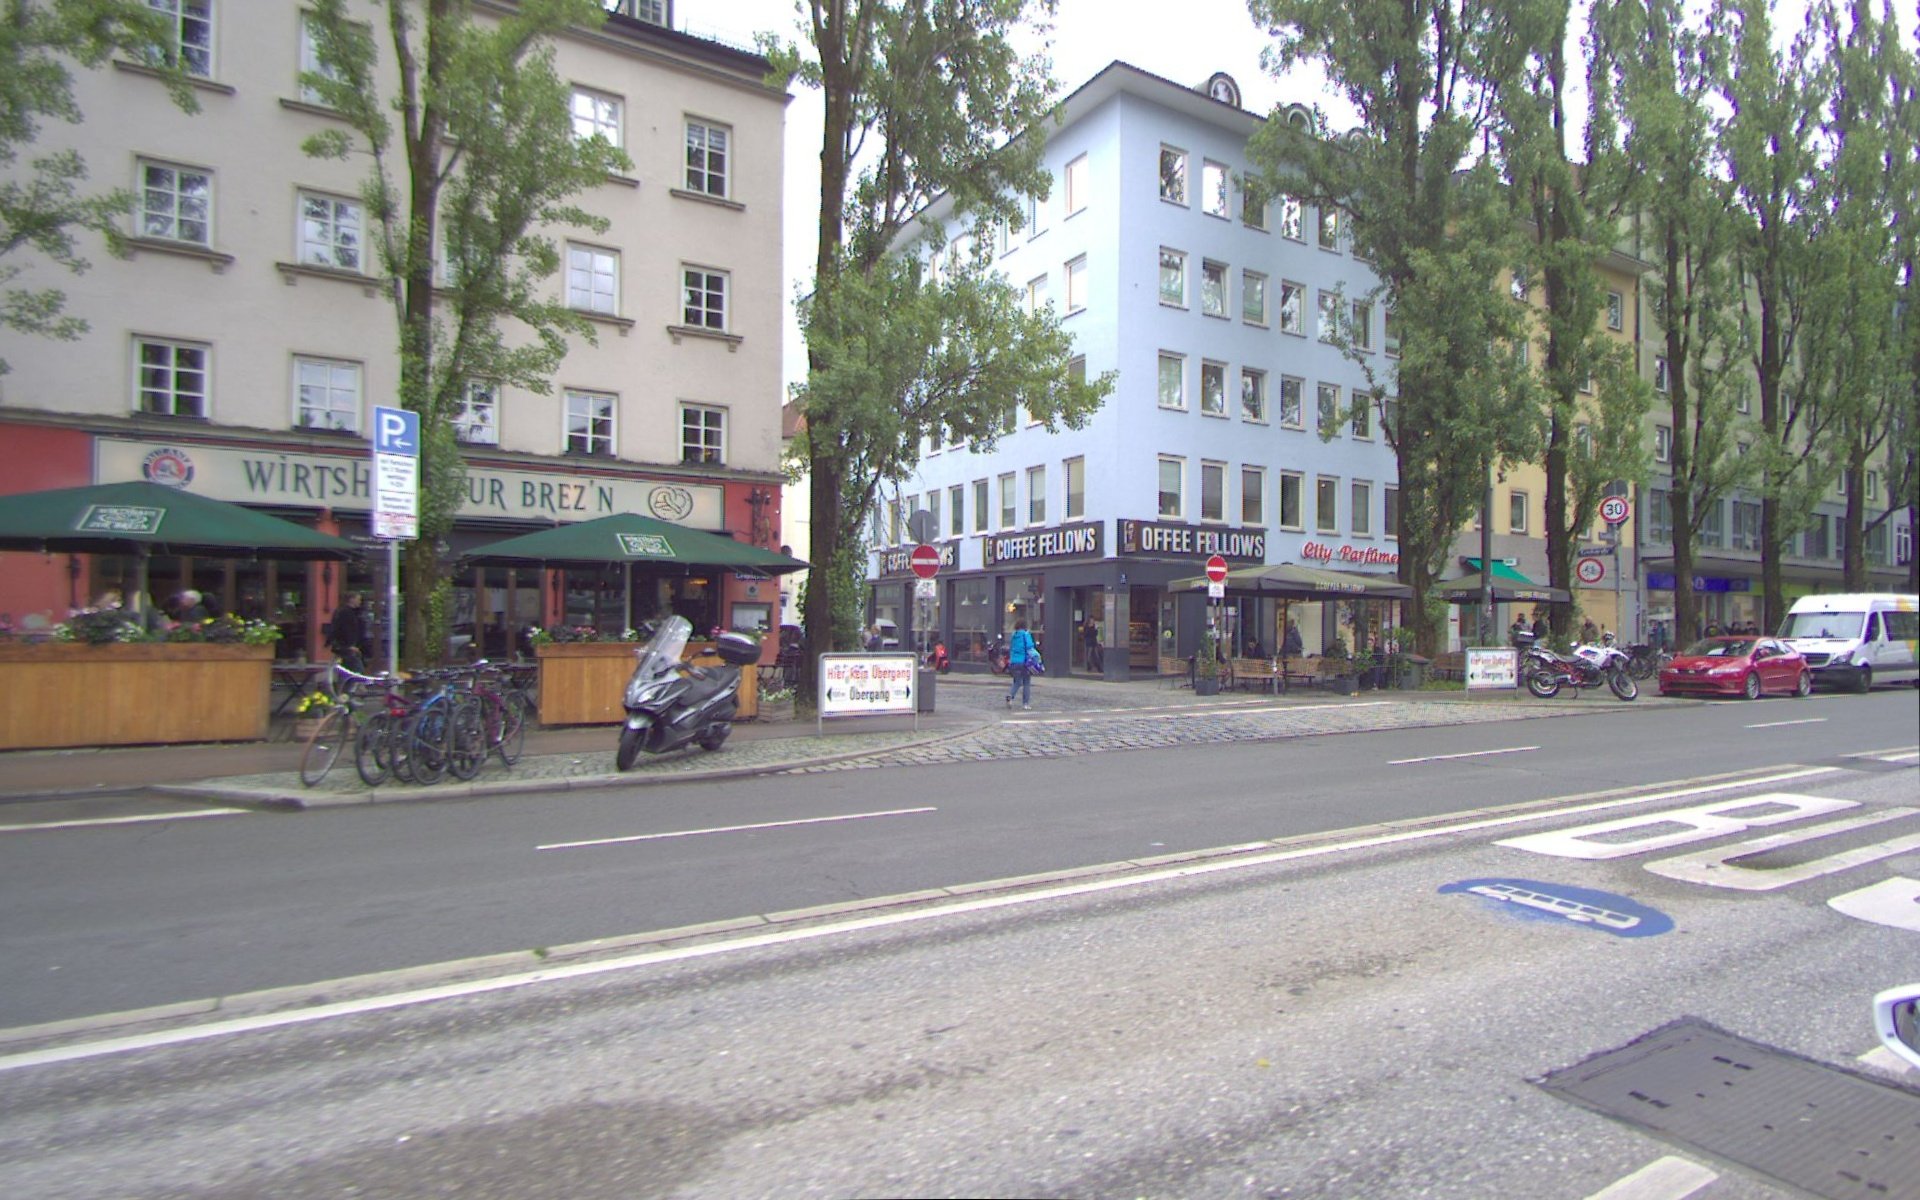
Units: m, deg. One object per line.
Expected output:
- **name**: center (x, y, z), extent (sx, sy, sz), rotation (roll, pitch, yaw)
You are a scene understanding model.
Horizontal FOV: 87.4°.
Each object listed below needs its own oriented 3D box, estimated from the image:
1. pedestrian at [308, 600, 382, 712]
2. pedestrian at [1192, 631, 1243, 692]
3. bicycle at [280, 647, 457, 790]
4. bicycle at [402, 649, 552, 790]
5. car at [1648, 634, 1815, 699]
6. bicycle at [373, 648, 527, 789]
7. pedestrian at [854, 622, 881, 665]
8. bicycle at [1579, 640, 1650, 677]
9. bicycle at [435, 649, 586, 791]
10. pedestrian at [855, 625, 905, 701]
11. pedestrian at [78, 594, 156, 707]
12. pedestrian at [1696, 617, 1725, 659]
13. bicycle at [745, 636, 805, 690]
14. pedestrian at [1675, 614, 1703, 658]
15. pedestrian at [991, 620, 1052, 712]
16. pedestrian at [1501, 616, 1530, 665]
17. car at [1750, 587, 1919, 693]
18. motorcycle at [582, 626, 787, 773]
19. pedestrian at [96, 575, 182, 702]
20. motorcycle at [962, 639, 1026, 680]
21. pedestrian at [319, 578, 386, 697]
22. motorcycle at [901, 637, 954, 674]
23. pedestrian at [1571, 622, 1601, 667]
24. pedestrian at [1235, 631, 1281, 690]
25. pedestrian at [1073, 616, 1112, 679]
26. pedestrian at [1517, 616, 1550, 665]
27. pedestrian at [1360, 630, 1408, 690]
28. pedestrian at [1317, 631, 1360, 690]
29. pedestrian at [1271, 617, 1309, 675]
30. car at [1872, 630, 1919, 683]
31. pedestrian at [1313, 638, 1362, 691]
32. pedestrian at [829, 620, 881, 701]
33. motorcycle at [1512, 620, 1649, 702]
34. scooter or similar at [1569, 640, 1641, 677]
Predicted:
- **pedestrian**: center (-9.860, 0.886, 16.138), extent (0.938, 1.745, 0.695), rotation (1, -1, -28)
- **pedestrian**: center (6.025, 1.429, 23.508), extent (0.938, 1.380, 0.695), rotation (1, -1, -28)
- **bicycle**: center (-5.657, 1.079, 9.749), extent (0.335, 1.140, 1.983), rotation (2, 0, 7)
- **bicycle**: center (-4.646, 1.099, 9.810), extent (0.277, 1.140, 1.983), rotation (2, 0, 7)
- **car**: center (18.375, 1.535, 23.887), extent (4.100, 1.438, 1.729), rotation (1, -3, -31)
- **bicycle**: center (-4.922, 1.091, 9.843), extent (0.277, 1.140, 1.983), rotation (2, 0, 7)
- **pedestrian**: center (-3.586, 1.680, 38.919), extent (0.693, 1.668, 0.859), rotation (1, -1, -34)
- **bicycle**: center (19.577, 1.732, 30.092), extent (0.417, 1.040, 1.763), rotation (1, -2, -32)
- **bicycle**: center (-4.313, 1.103, 9.793), extent (0.353, 1.140, 1.983), rotation (2, 0, 7)
- **pedestrian**: center (-1.801, 1.402, 22.578), extent (0.916, 1.668, 0.696), rotation (1, -1, -25)
- **pedestrian**: center (-12.675, 0.755, 15.125), extent (0.723, 1.645, 0.695), rotation (1, -1, -28)
- **pedestrian**: center (30.697, 1.549, 41.083), extent (0.717, 1.722, 0.695), rotation (1, -1, -26)
- **bicycle**: center (-4.552, 1.511, 24.582), extent (0.638, 1.220, 2.328), rotation (1, -2, -31)
- **pedestrian**: center (30.353, 1.487, 41.827), extent (0.717, 1.818, 0.695), rotation (1, -1, -26)
- **pedestrian**: center (1.156, 1.209, 18.761), extent (0.690, 1.668, 0.945), rotation (-1, -2, 44)
- **pedestrian**: center (19.105, 1.400, 34.539), extent (0.553, 1.657, 0.699), rotation (0, -1, -6)
- **car**: center (24.363, 1.088, 27.436), extent (6.831, 2.601, 1.996), rotation (1, -3, -31)
- **motorcycle**: center (-2.938, 1.006, 11.055), extent (0.732, 1.433, 2.452), rotation (0, -2, 26)
- **pedestrian**: center (-12.987, 0.606, 15.917), extent (0.894, 1.952, 0.695), rotation (1, -1, -28)
- **motorcycle**: center (1.051, 1.856, 31.886), extent (0.729, 1.219, 2.748), rotation (-1, -1, -29)
- **pedestrian**: center (-10.254, 0.631, 16.982), extent (0.894, 1.952, 0.695), rotation (1, -1, -28)
- **motorcycle**: center (-1.189, 1.958, 36.063), extent (0.729, 1.219, 2.748), rotation (-1, -1, -29)
- **pedestrian**: center (23.547, 1.672, 37.780), extent (0.718, 1.657, 0.695), rotation (1, -1, -28)
- **pedestrian**: center (7.123, 1.433, 24.044), extent (0.808, 1.380, 0.695), rotation (1, -1, -28)
- **pedestrian**: center (3.849, 1.374, 29.109), extent (0.933, 1.796, 0.699), rotation (0, -1, 29)
- **pedestrian**: center (19.705, 1.379, 34.519), extent (0.713, 1.657, 0.699), rotation (0, -1, -6)
- **pedestrian**: center (10.065, 1.416, 23.863), extent (0.838, 1.380, 0.694), rotation (1, -1, -31)
- **pedestrian**: center (9.102, 1.434, 24.147), extent (0.692, 1.380, 0.709), rotation (1, -1, -32)
- **pedestrian**: center (9.791, 1.350, 29.799), extent (0.775, 1.708, 0.753), rotation (1, -1, -27)
- **car**: center (30.298, 1.726, 31.086), extent (4.363, 1.572, 1.858), rotation (1, -3, -31)
- **pedestrian**: center (8.785, 1.480, 23.383), extent (0.692, 1.198, 0.811), rotation (1, -1, -32)
- **pedestrian**: center (-2.232, 1.276, 21.297), extent (0.916, 1.668, 0.696), rotation (1, -1, -25)
- **motorcycle**: center (12.846, 1.242, 20.879), extent (2.301, 1.584, 0.715), rotation (1, 0, 18)
- **scooter or similar**: center (19.062, 1.715, 29.722), extent (0.417, 1.040, 1.763), rotation (1, -2, -32)
